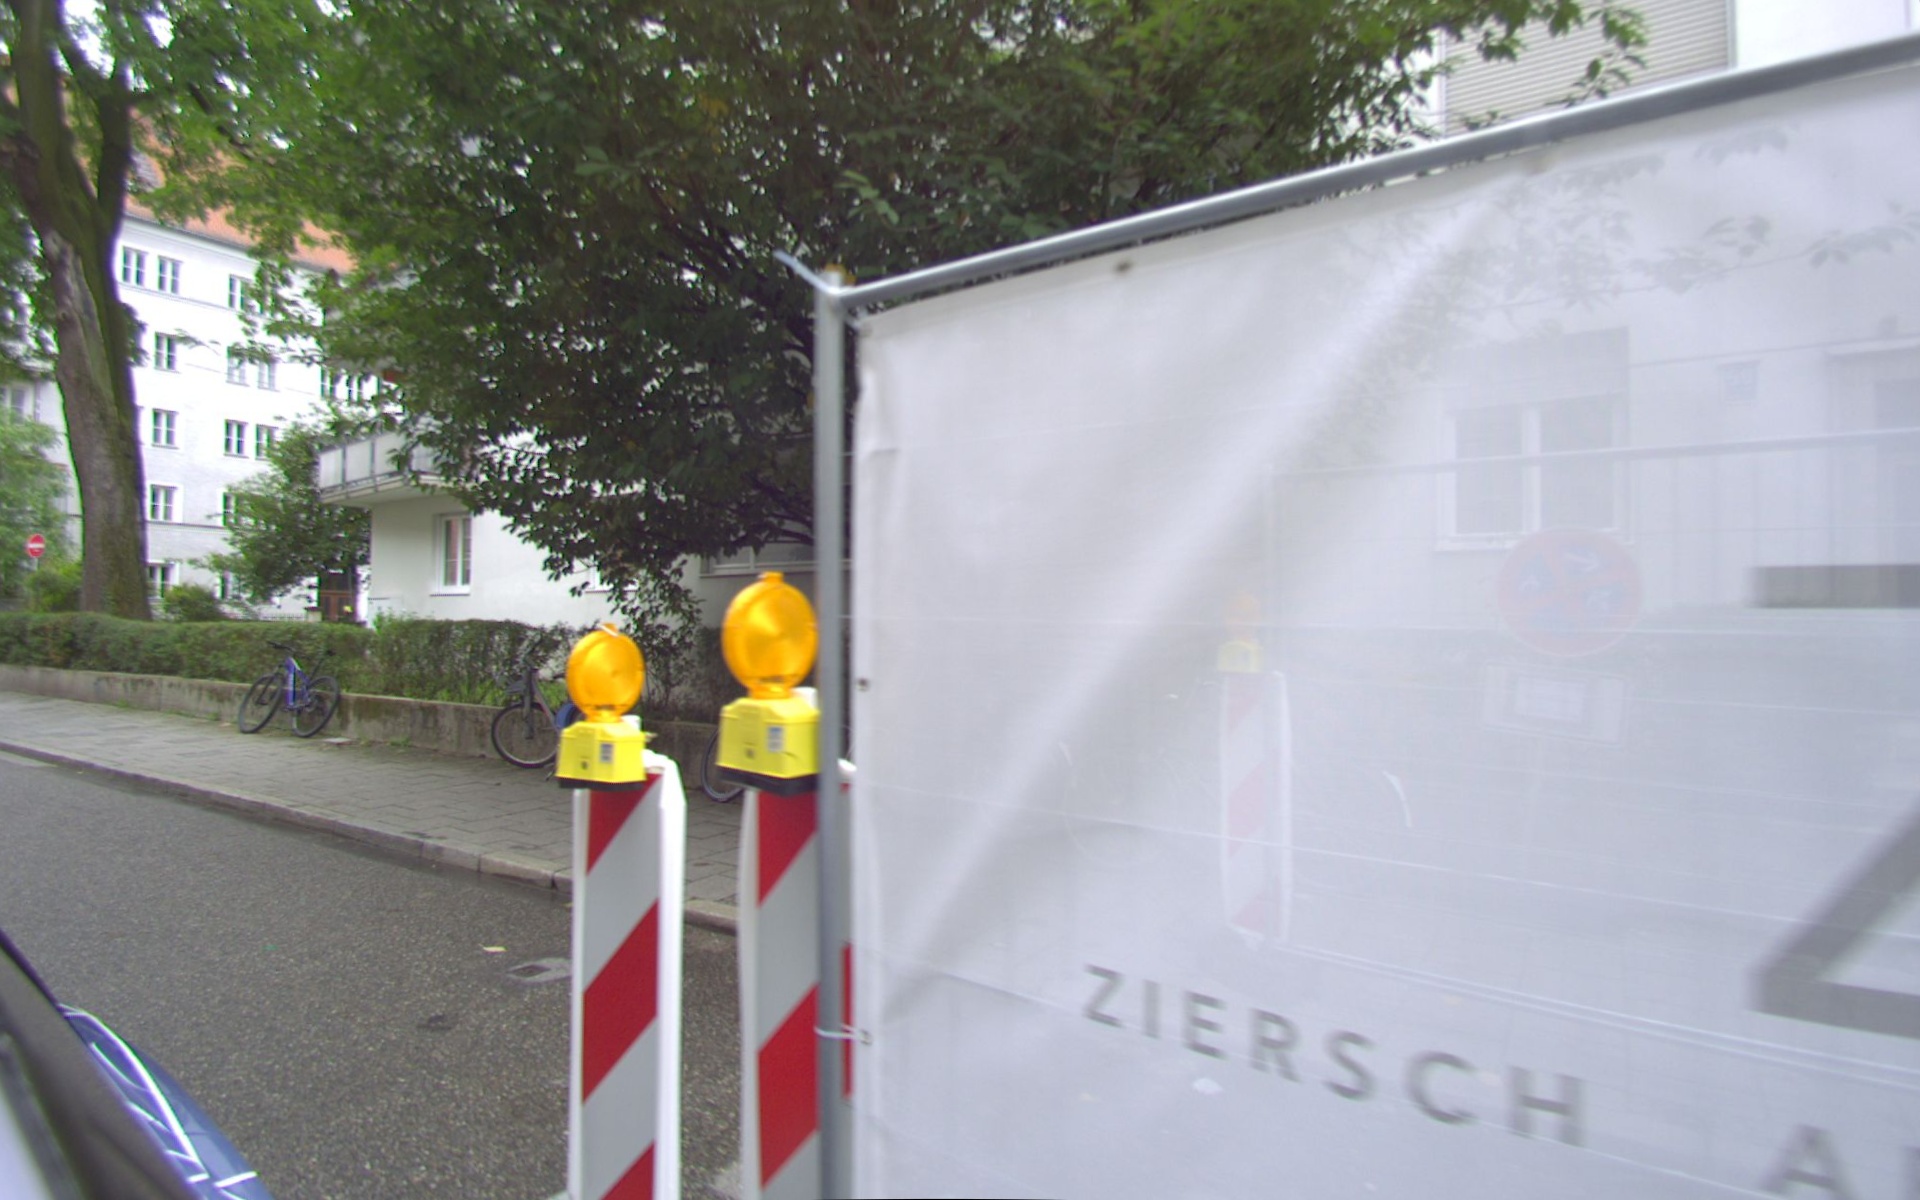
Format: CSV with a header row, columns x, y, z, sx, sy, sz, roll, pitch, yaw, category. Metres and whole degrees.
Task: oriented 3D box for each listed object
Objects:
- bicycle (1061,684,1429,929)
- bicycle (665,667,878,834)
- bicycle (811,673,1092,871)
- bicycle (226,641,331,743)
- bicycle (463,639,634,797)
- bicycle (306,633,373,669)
x,y,z,sx,sy,sz,roll,pitch,yaw,category
1.429,0.997,5.295,1.812,0.986,0.440,0,1,35,bicycle
-1.381,1.026,7.242,1.695,0.986,0.432,0,1,35,bicycle
-0.101,1.011,6.355,1.849,0.986,0.440,0,1,35,bicycle
-7.901,1.037,11.709,1.775,1.080,0.344,-1,1,34,bicycle
-3.486,0.943,8.518,1.695,1.160,0.484,0,1,35,bicycle
-19.259,1.577,31.444,1.751,1.080,0.348,1,-2,-37,bicycle
